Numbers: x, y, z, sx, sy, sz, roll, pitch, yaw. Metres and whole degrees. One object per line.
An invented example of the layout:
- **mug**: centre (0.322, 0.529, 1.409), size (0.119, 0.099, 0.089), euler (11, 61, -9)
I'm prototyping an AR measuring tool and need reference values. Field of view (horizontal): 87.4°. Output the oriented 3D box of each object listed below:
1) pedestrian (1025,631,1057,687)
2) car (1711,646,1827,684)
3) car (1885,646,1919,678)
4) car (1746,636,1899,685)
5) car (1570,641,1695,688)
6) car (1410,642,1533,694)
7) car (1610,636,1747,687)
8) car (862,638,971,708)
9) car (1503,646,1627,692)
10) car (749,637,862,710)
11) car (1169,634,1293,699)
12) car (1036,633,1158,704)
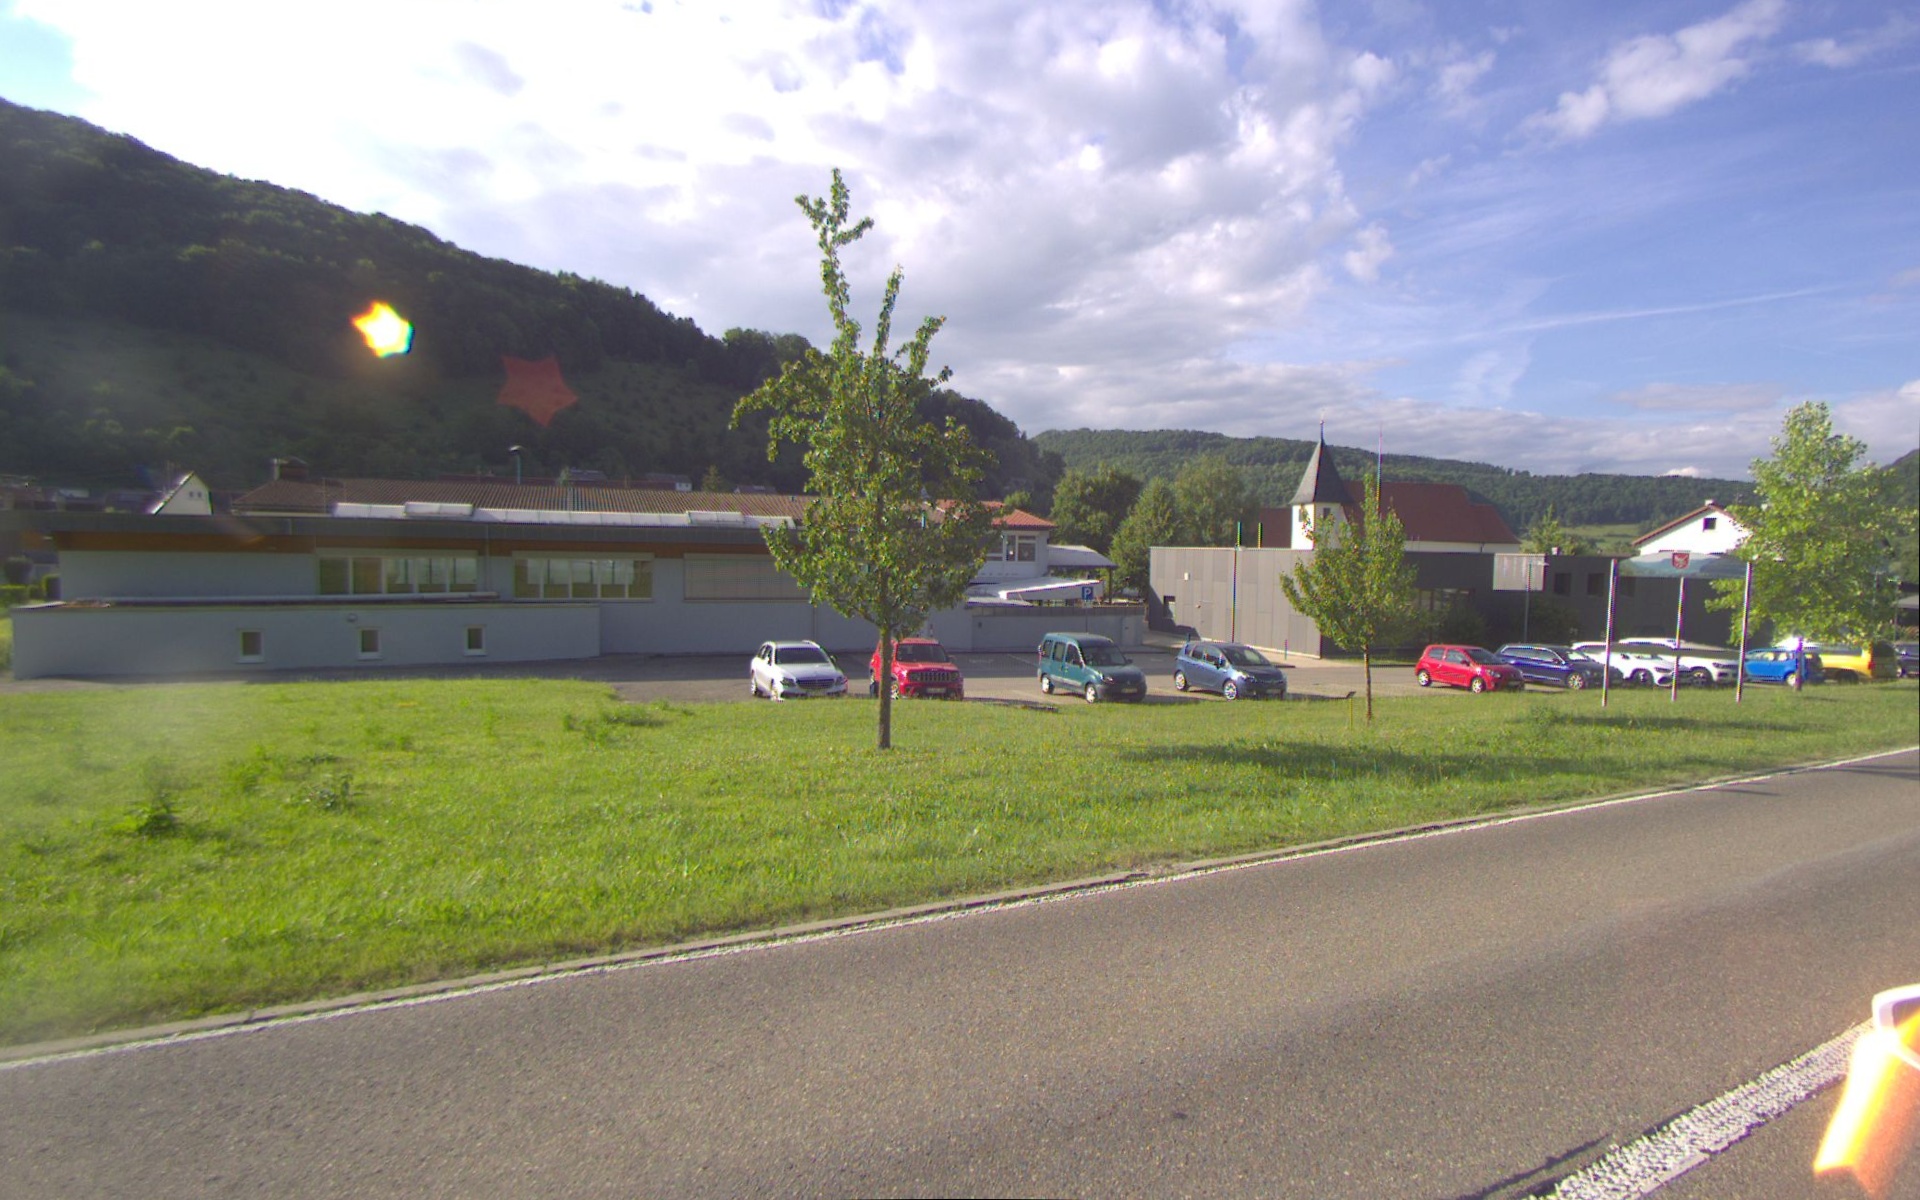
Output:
- **pedestrian**: centre (2.574, 1.877, 32.090), size (0.695, 1.716, 0.792), euler (2, 1, -22)
- **car**: centre (33.113, 2.646, 41.179), size (1.639, 1.391, 3.356), euler (2, -2, -28)
- **car**: centre (44.766, 2.849, 45.711), size (1.486, 1.458, 3.707), euler (1, -2, -20)
- **car**: centre (35.659, 2.464, 41.706), size (1.813, 1.839, 4.547), euler (1, -2, -20)
- **car**: centre (24.828, 2.348, 37.215), size (1.572, 1.513, 3.661), euler (0, -1, -20)
- **car**: centre (17.337, 2.271, 34.218), size (1.623, 1.463, 3.619), euler (0, 1, -20)
- **car**: centre (27.671, 2.328, 38.824), size (1.575, 1.695, 4.064), euler (2, 0, -25)
- **car**: centre (-1.244, 1.873, 26.734), size (1.730, 1.600, 3.913), euler (1, -1, -21)
- **car**: centre (21.685, 2.441, 36.150), size (1.573, 1.423, 3.620), euler (2, -1, -20)
- **car**: centre (-4.149, 1.838, 26.310), size (1.970, 1.610, 4.633), euler (1, -1, -21)
- **car**: centre (8.100, 1.954, 30.335), size (1.706, 1.744, 3.812), euler (1, -1, -21)
- **car**: centre (3.845, 1.904, 28.788), size (1.731, 1.745, 3.852), euler (1, 0, -23)
